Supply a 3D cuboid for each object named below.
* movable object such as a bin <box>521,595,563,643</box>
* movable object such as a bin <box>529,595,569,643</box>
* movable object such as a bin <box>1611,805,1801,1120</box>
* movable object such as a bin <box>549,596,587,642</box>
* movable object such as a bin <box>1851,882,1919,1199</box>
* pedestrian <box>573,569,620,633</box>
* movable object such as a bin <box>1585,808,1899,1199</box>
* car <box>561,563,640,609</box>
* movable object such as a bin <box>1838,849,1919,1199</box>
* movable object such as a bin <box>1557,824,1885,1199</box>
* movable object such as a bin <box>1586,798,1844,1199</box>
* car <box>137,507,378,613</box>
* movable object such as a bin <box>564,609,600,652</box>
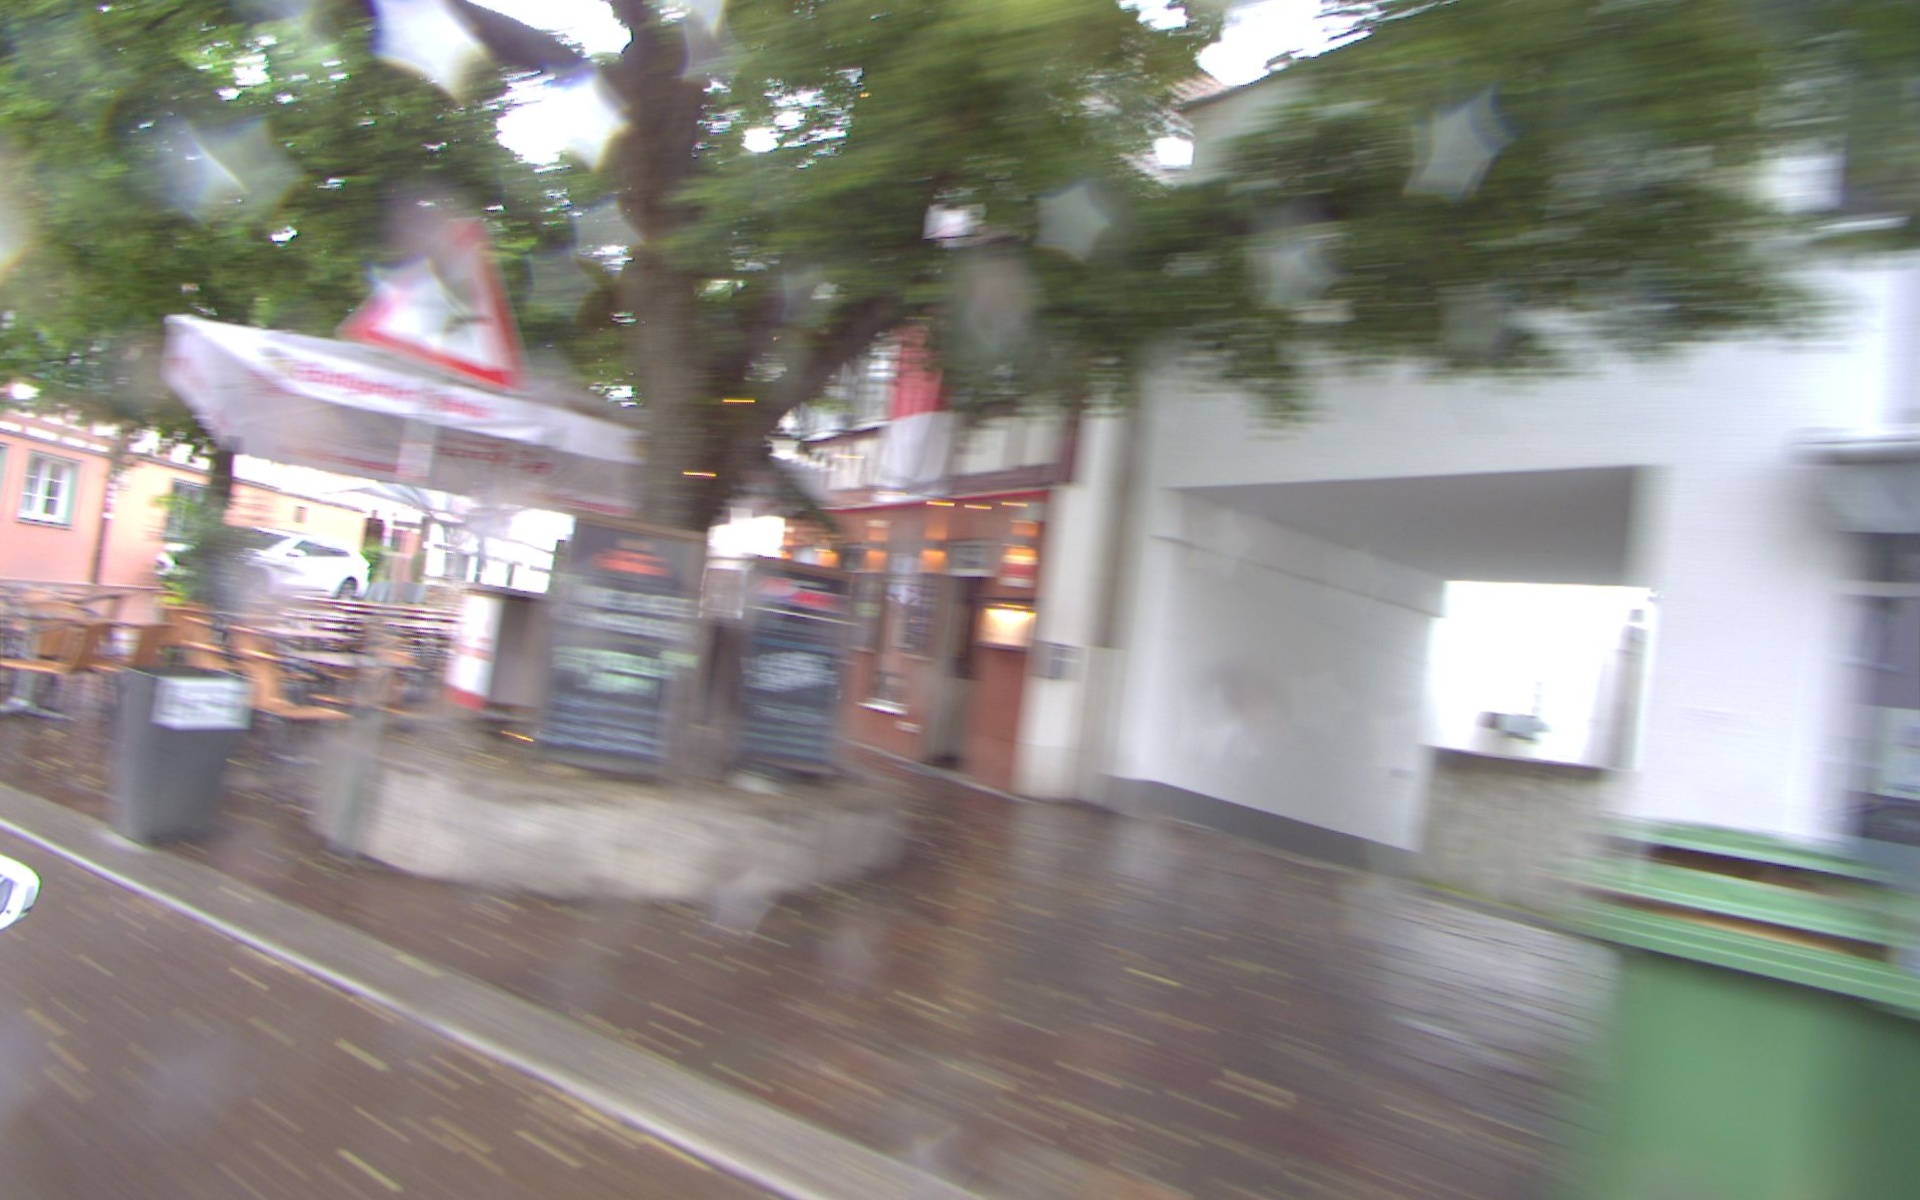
[{"bbox_3d":[-10.326,0.477,24.859,0.595,1.106,0.657,7,-2,4],"label":"movable object such as a bin"},{"bbox_3d":[-10.441,0.489,25.571,0.595,1.106,0.657,7,-2,4],"label":"movable object such as a bin"},{"bbox_3d":[3.004,1.423,4.090,0.492,1.059,0.431,6,-2,31],"label":"movable object such as a bin"},{"bbox_3d":[-10.332,0.509,26.537,0.595,1.106,0.657,7,-2,4],"label":"movable object such as a bin"},{"bbox_3d":[2.238,1.252,2.064,0.492,1.162,0.534,6,-2,31],"label":"movable object such as a bin"},{"bbox_3d":[-9.481,0.041,26.278,0.747,1.535,0.842,7,-2,-3],"label":"pedestrian"},{"bbox_3d":[2.249,1.267,2.967,0.576,1.162,0.545,6,-2,31],"label":"movable object such as a bin"},{"bbox_3d":[-15.891,-0.572,44.735,1.963,1.547,4.003,7,-3,-1],"label":"car"},{"bbox_3d":[2.735,1.314,2.639,0.492,1.162,0.531,6,-2,31],"label":"movable object such as a bin"},{"bbox_3d":[1.715,1.181,2.349,0.481,1.182,0.478,6,-2,31],"label":"movable object such as a bin"},{"bbox_3d":[2.583,1.336,3.502,0.571,1.162,0.504,6,-2,31],"label":"movable object such as a bin"},{"bbox_3d":[-15.643,-0.788,22.769,1.909,1.649,4.472,10,-2,3],"label":"car"},{"bbox_3d":[-10.289,0.840,27.400,0.595,1.106,0.657,7,-2,4],"label":"movable object such as a bin"}]
